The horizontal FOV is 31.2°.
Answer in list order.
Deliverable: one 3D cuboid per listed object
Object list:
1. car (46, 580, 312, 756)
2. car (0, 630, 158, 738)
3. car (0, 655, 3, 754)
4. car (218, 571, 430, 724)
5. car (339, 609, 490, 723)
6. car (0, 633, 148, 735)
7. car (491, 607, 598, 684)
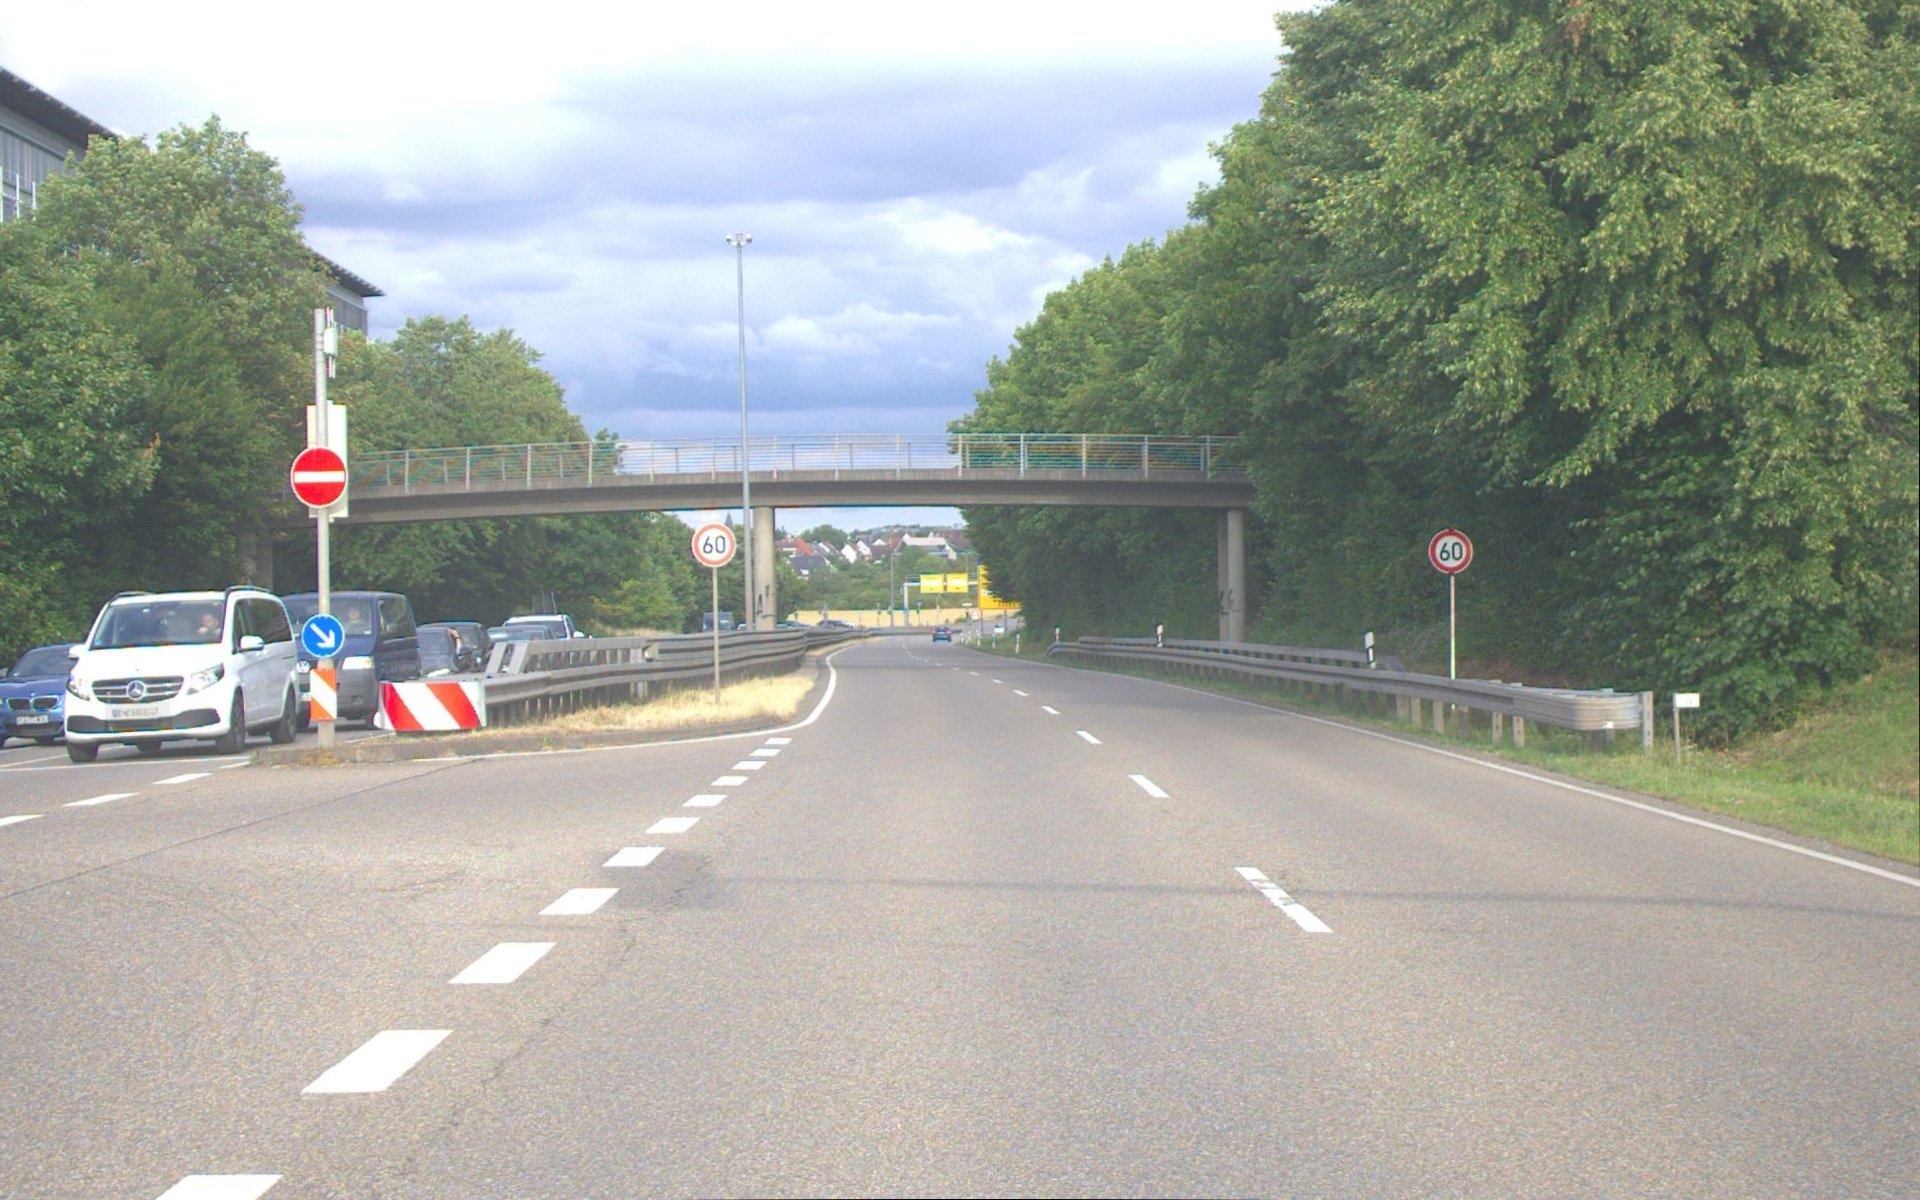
[{"bbox_3d":[-9.079,0.762,40.414,1.934,1.866,5.347,-2,0,-1],"label":"car"},{"bbox_3d":[-12.436,1.139,47.549,1.648,1.383,4.185,-2,0,0],"label":"car"},{"bbox_3d":[-12.756,0.925,39.845,1.934,1.983,5.091,-2,0,-1],"label":"car"},{"bbox_3d":[-8.882,0.644,48.451,1.898,1.910,5.050,-4,0,0],"label":"car"},{"bbox_3d":[-8.870,1.045,56.207,1.712,1.583,4.555,-5,1,-1],"label":"car"},{"bbox_3d":[-12.569,1.152,47.529,1.721,1.236,4.000,-4,0,-1],"label":"car"},{"bbox_3d":[-9.221,0.988,76.632,1.823,1.579,4.791,-3,0,-1],"label":"car"}]
